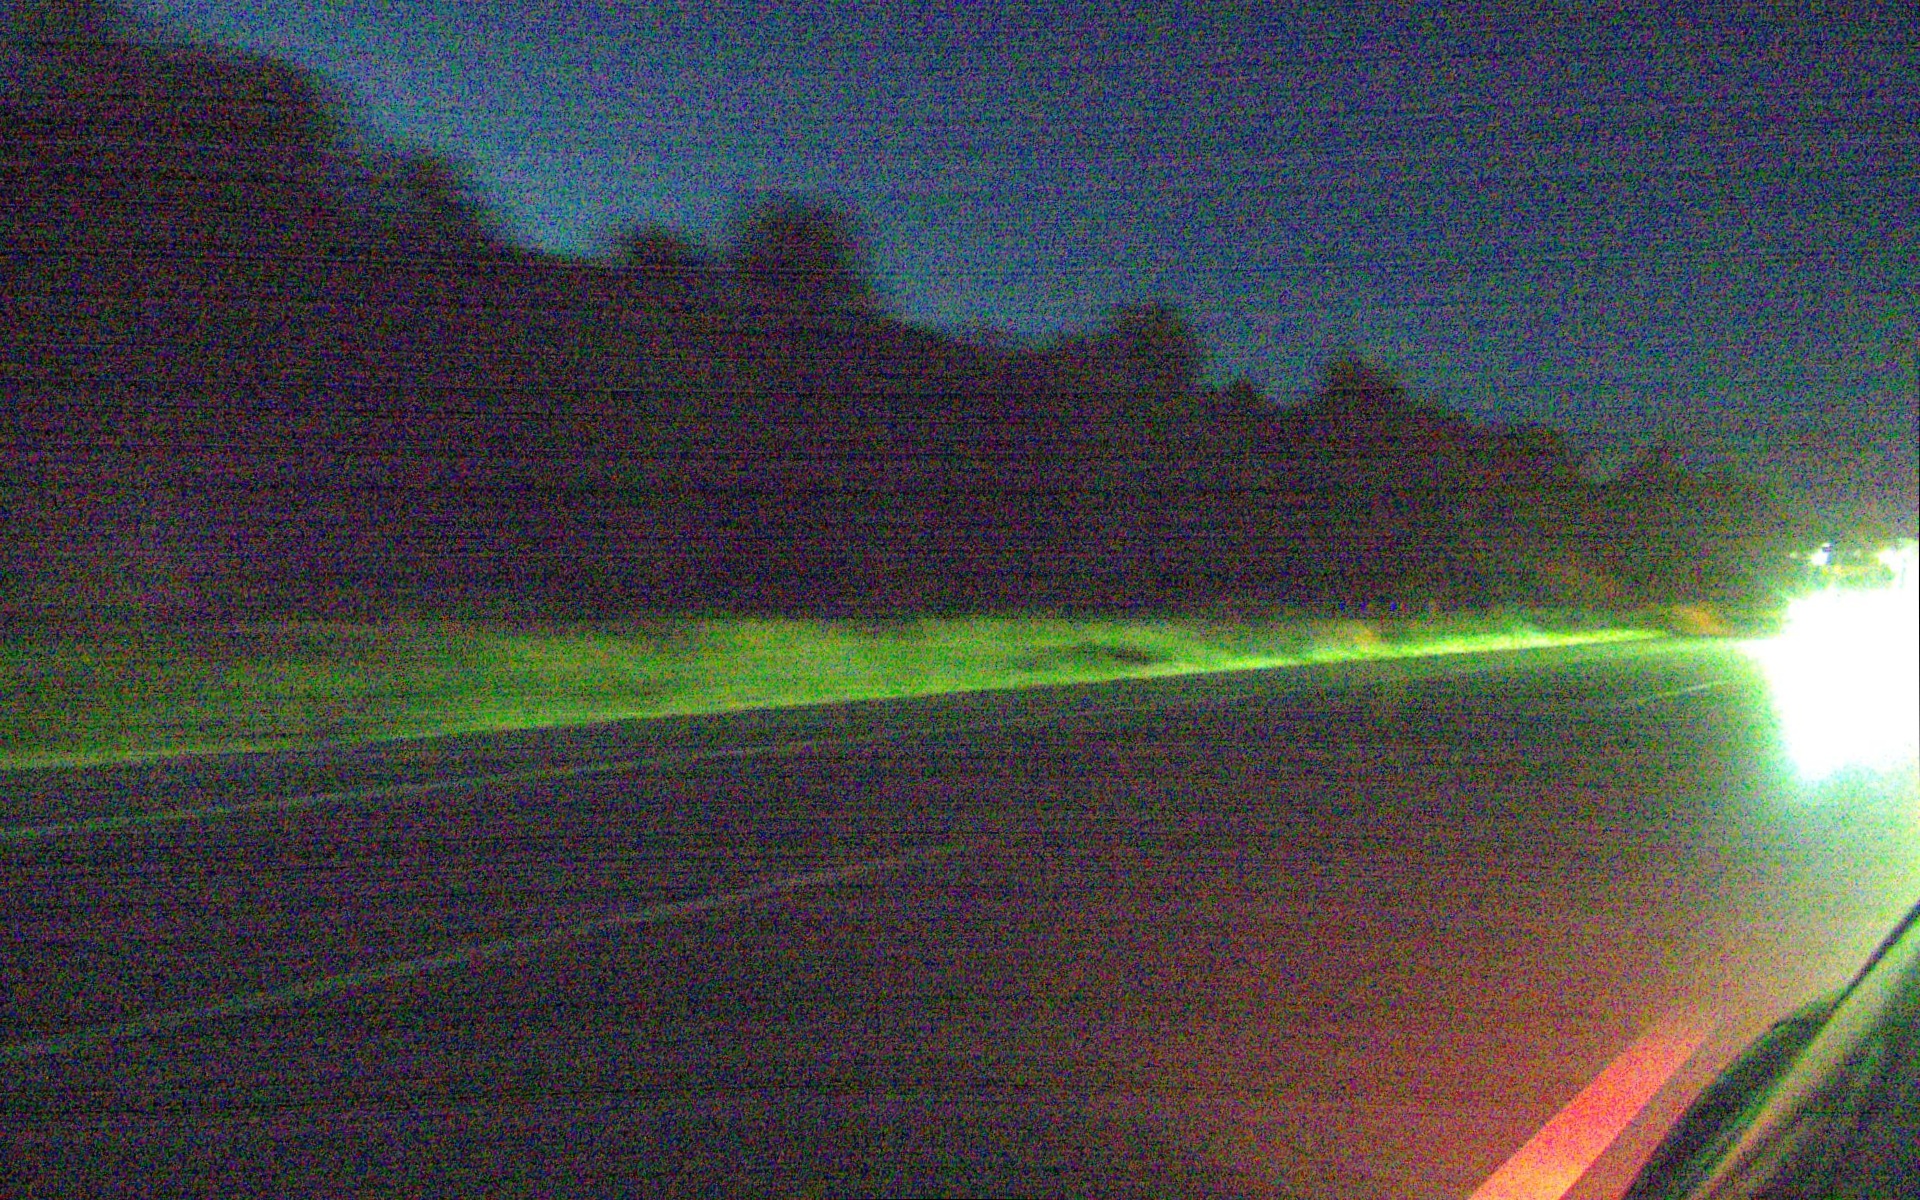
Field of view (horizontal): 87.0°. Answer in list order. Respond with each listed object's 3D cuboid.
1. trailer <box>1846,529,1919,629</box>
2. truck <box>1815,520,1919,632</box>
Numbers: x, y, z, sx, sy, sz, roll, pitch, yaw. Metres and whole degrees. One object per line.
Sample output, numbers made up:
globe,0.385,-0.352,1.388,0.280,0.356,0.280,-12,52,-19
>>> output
trailer,42.569,-0.828,45.552,9.830,4.124,2.596,0,0,-40
truck,36.981,-0.868,40.800,7.536,4.124,2.596,1,0,-40
